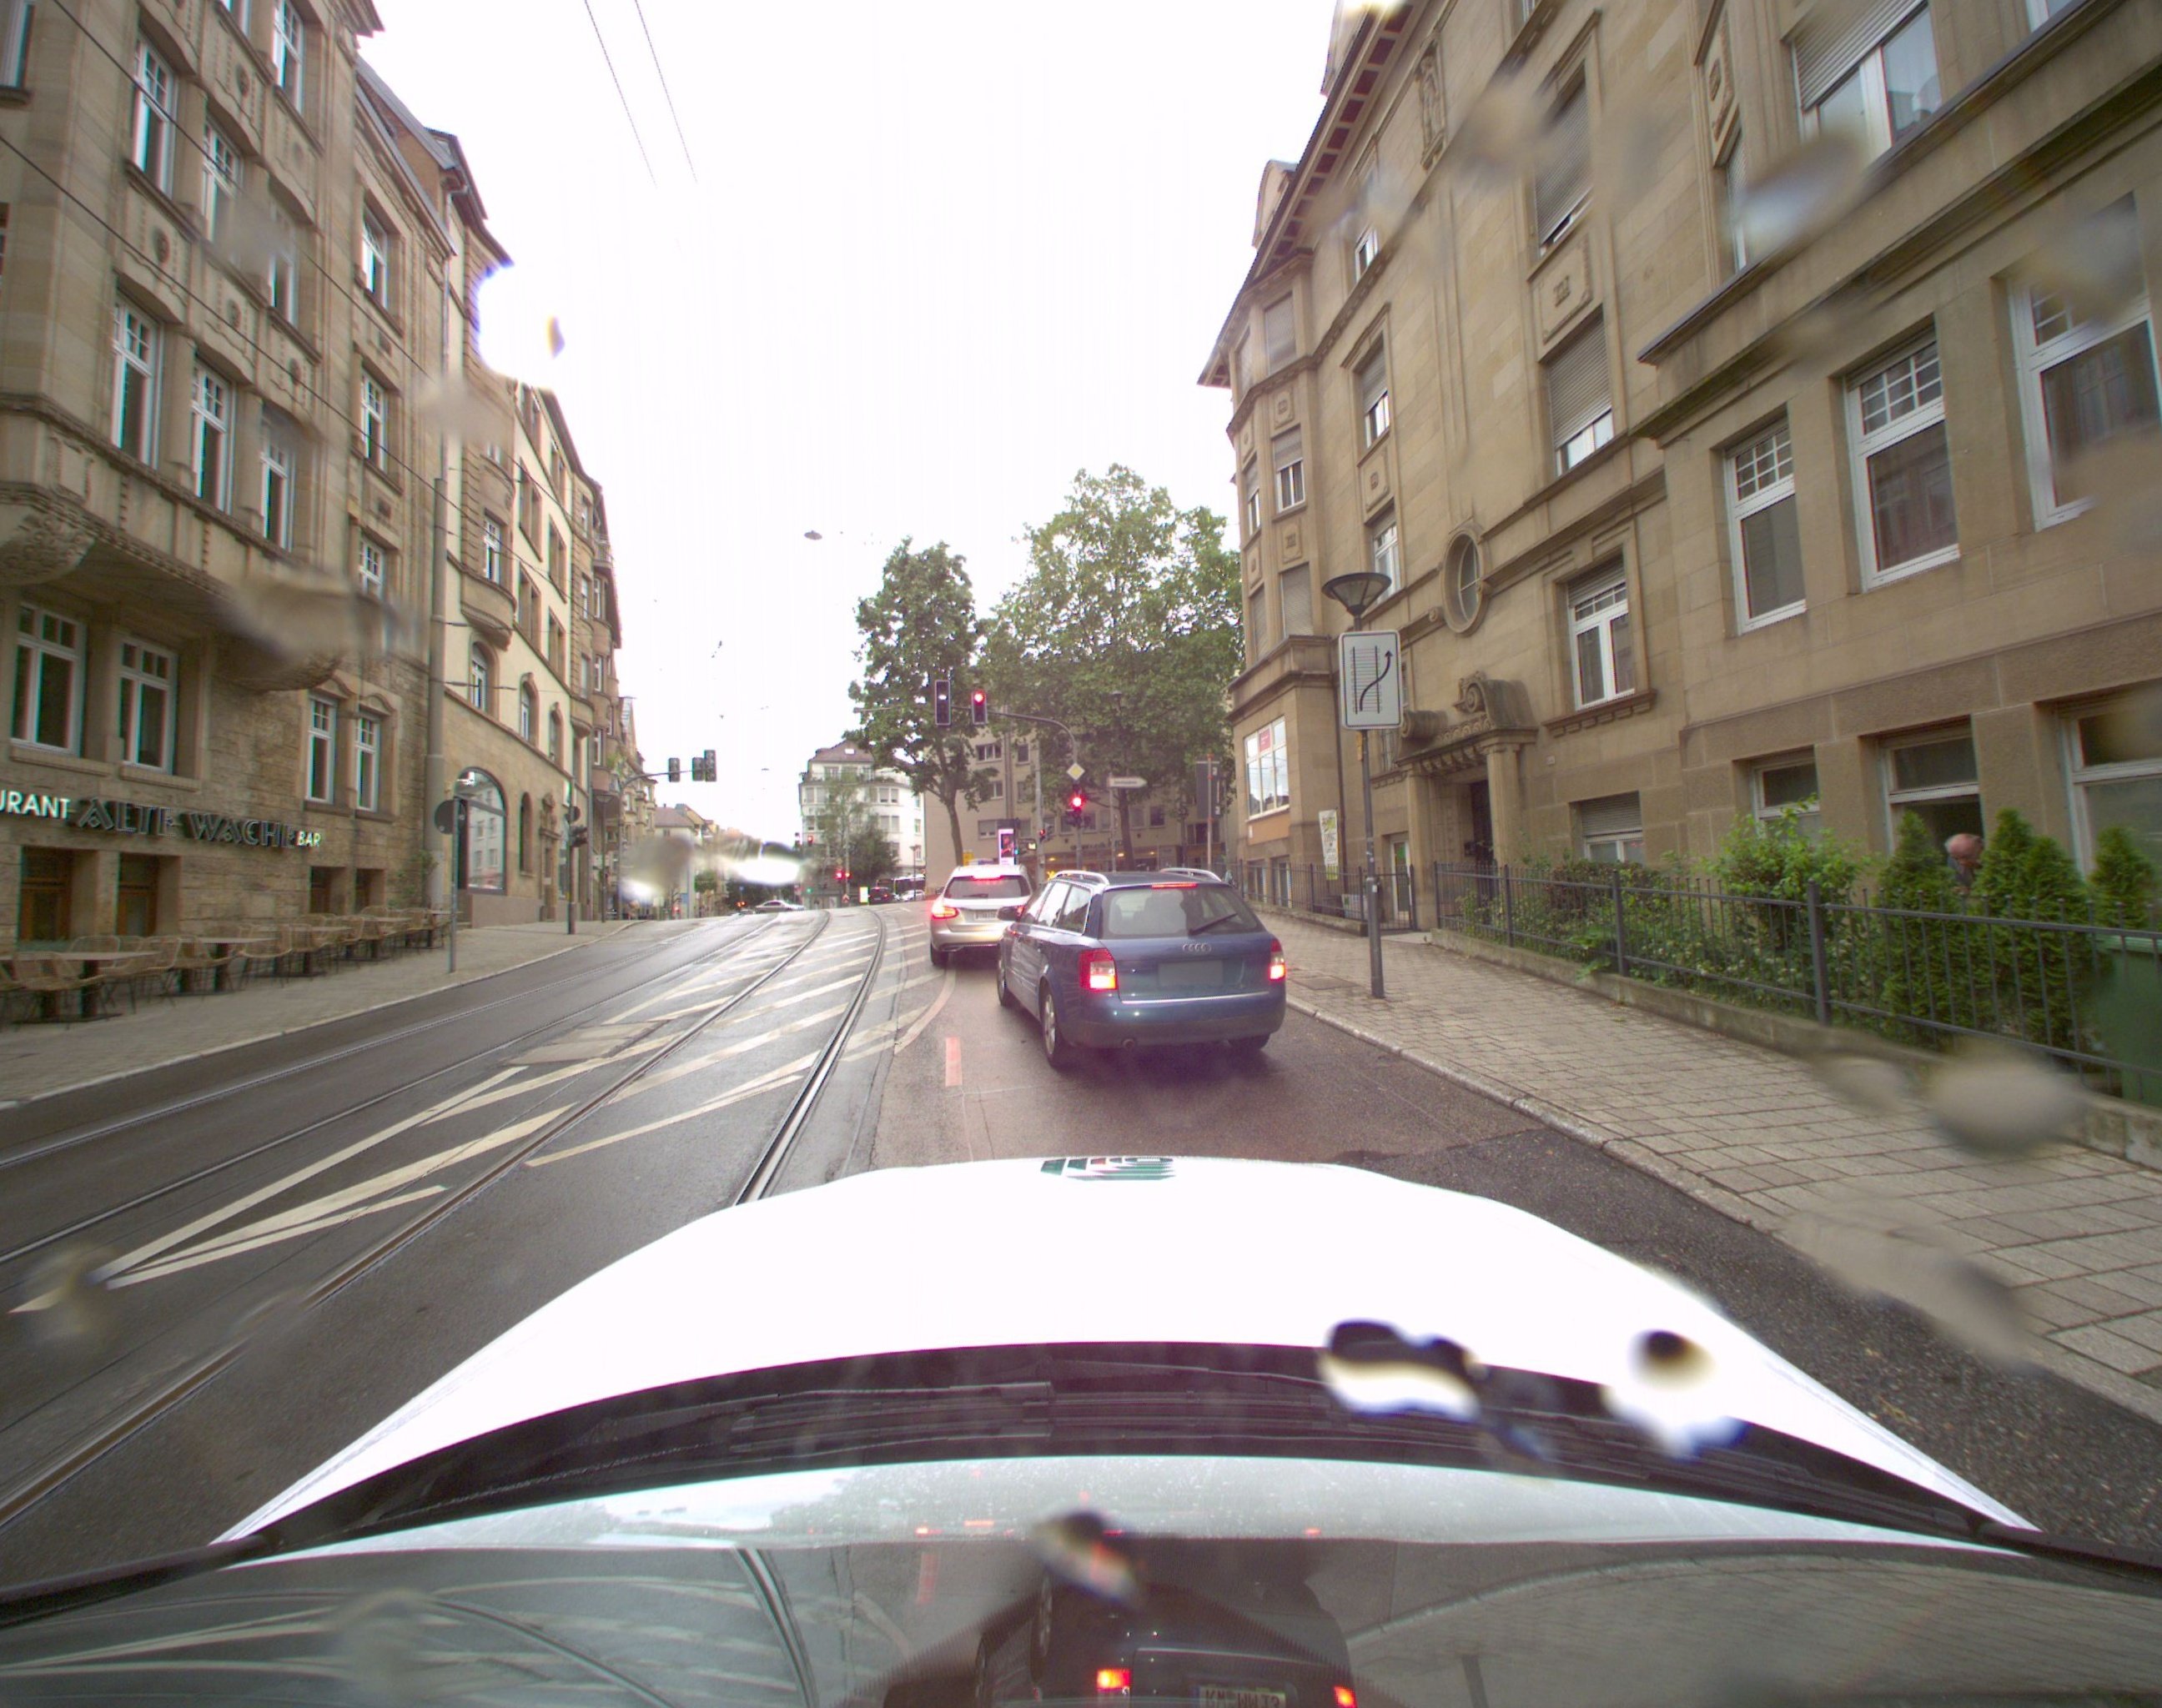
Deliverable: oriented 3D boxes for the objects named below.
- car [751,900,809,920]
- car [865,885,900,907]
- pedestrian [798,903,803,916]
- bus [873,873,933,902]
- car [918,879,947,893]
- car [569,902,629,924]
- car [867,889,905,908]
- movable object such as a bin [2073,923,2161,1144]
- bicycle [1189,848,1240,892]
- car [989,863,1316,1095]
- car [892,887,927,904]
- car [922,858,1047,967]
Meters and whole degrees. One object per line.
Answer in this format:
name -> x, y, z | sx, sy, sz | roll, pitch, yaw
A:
car -> -26.897, 5.036, 72.786 | 4.617, 1.510, 1.807 | -3, 0, 14
car -> -16.697, 3.473, 68.531 | 1.788, 1.510, 4.000 | -5, 0, 1
pedestrian -> -37.411, 7.351, 108.666 | 0.650, 1.661, 0.646 | -1, -1, -18
bus -> -20.656, 3.852, 95.095 | 2.832, 2.861, 8.771 | -3, 0, 16
car -> -18.601, 4.013, 102.039 | 1.779, 1.510, 4.020 | -3, 0, 20
car -> -39.575, 4.810, 66.942 | 4.008, 1.510, 1.785 | -2, 0, -26
car -> -20.114, 4.588, 84.041 | 1.779, 1.614, 4.020 | -3, 0, 20
movable object such as a bin -> 5.404, 0.871, 3.926 | 0.537, 1.026, 0.602 | 2, -2, -10
bicycle -> 3.884, 0.464, 23.746 | 1.300, 1.173, 0.524 | -4, 0, -11
car -> 0.301, 0.825, 7.376 | 1.713, 1.415, 4.016 | -1, 0, -14
car -> -18.669, 4.530, 88.882 | 1.779, 1.510, 4.020 | -3, 0, 20
car -> -1.499, 0.823, 13.109 | 1.708, 1.456, 3.546 | -1, 0, -5
